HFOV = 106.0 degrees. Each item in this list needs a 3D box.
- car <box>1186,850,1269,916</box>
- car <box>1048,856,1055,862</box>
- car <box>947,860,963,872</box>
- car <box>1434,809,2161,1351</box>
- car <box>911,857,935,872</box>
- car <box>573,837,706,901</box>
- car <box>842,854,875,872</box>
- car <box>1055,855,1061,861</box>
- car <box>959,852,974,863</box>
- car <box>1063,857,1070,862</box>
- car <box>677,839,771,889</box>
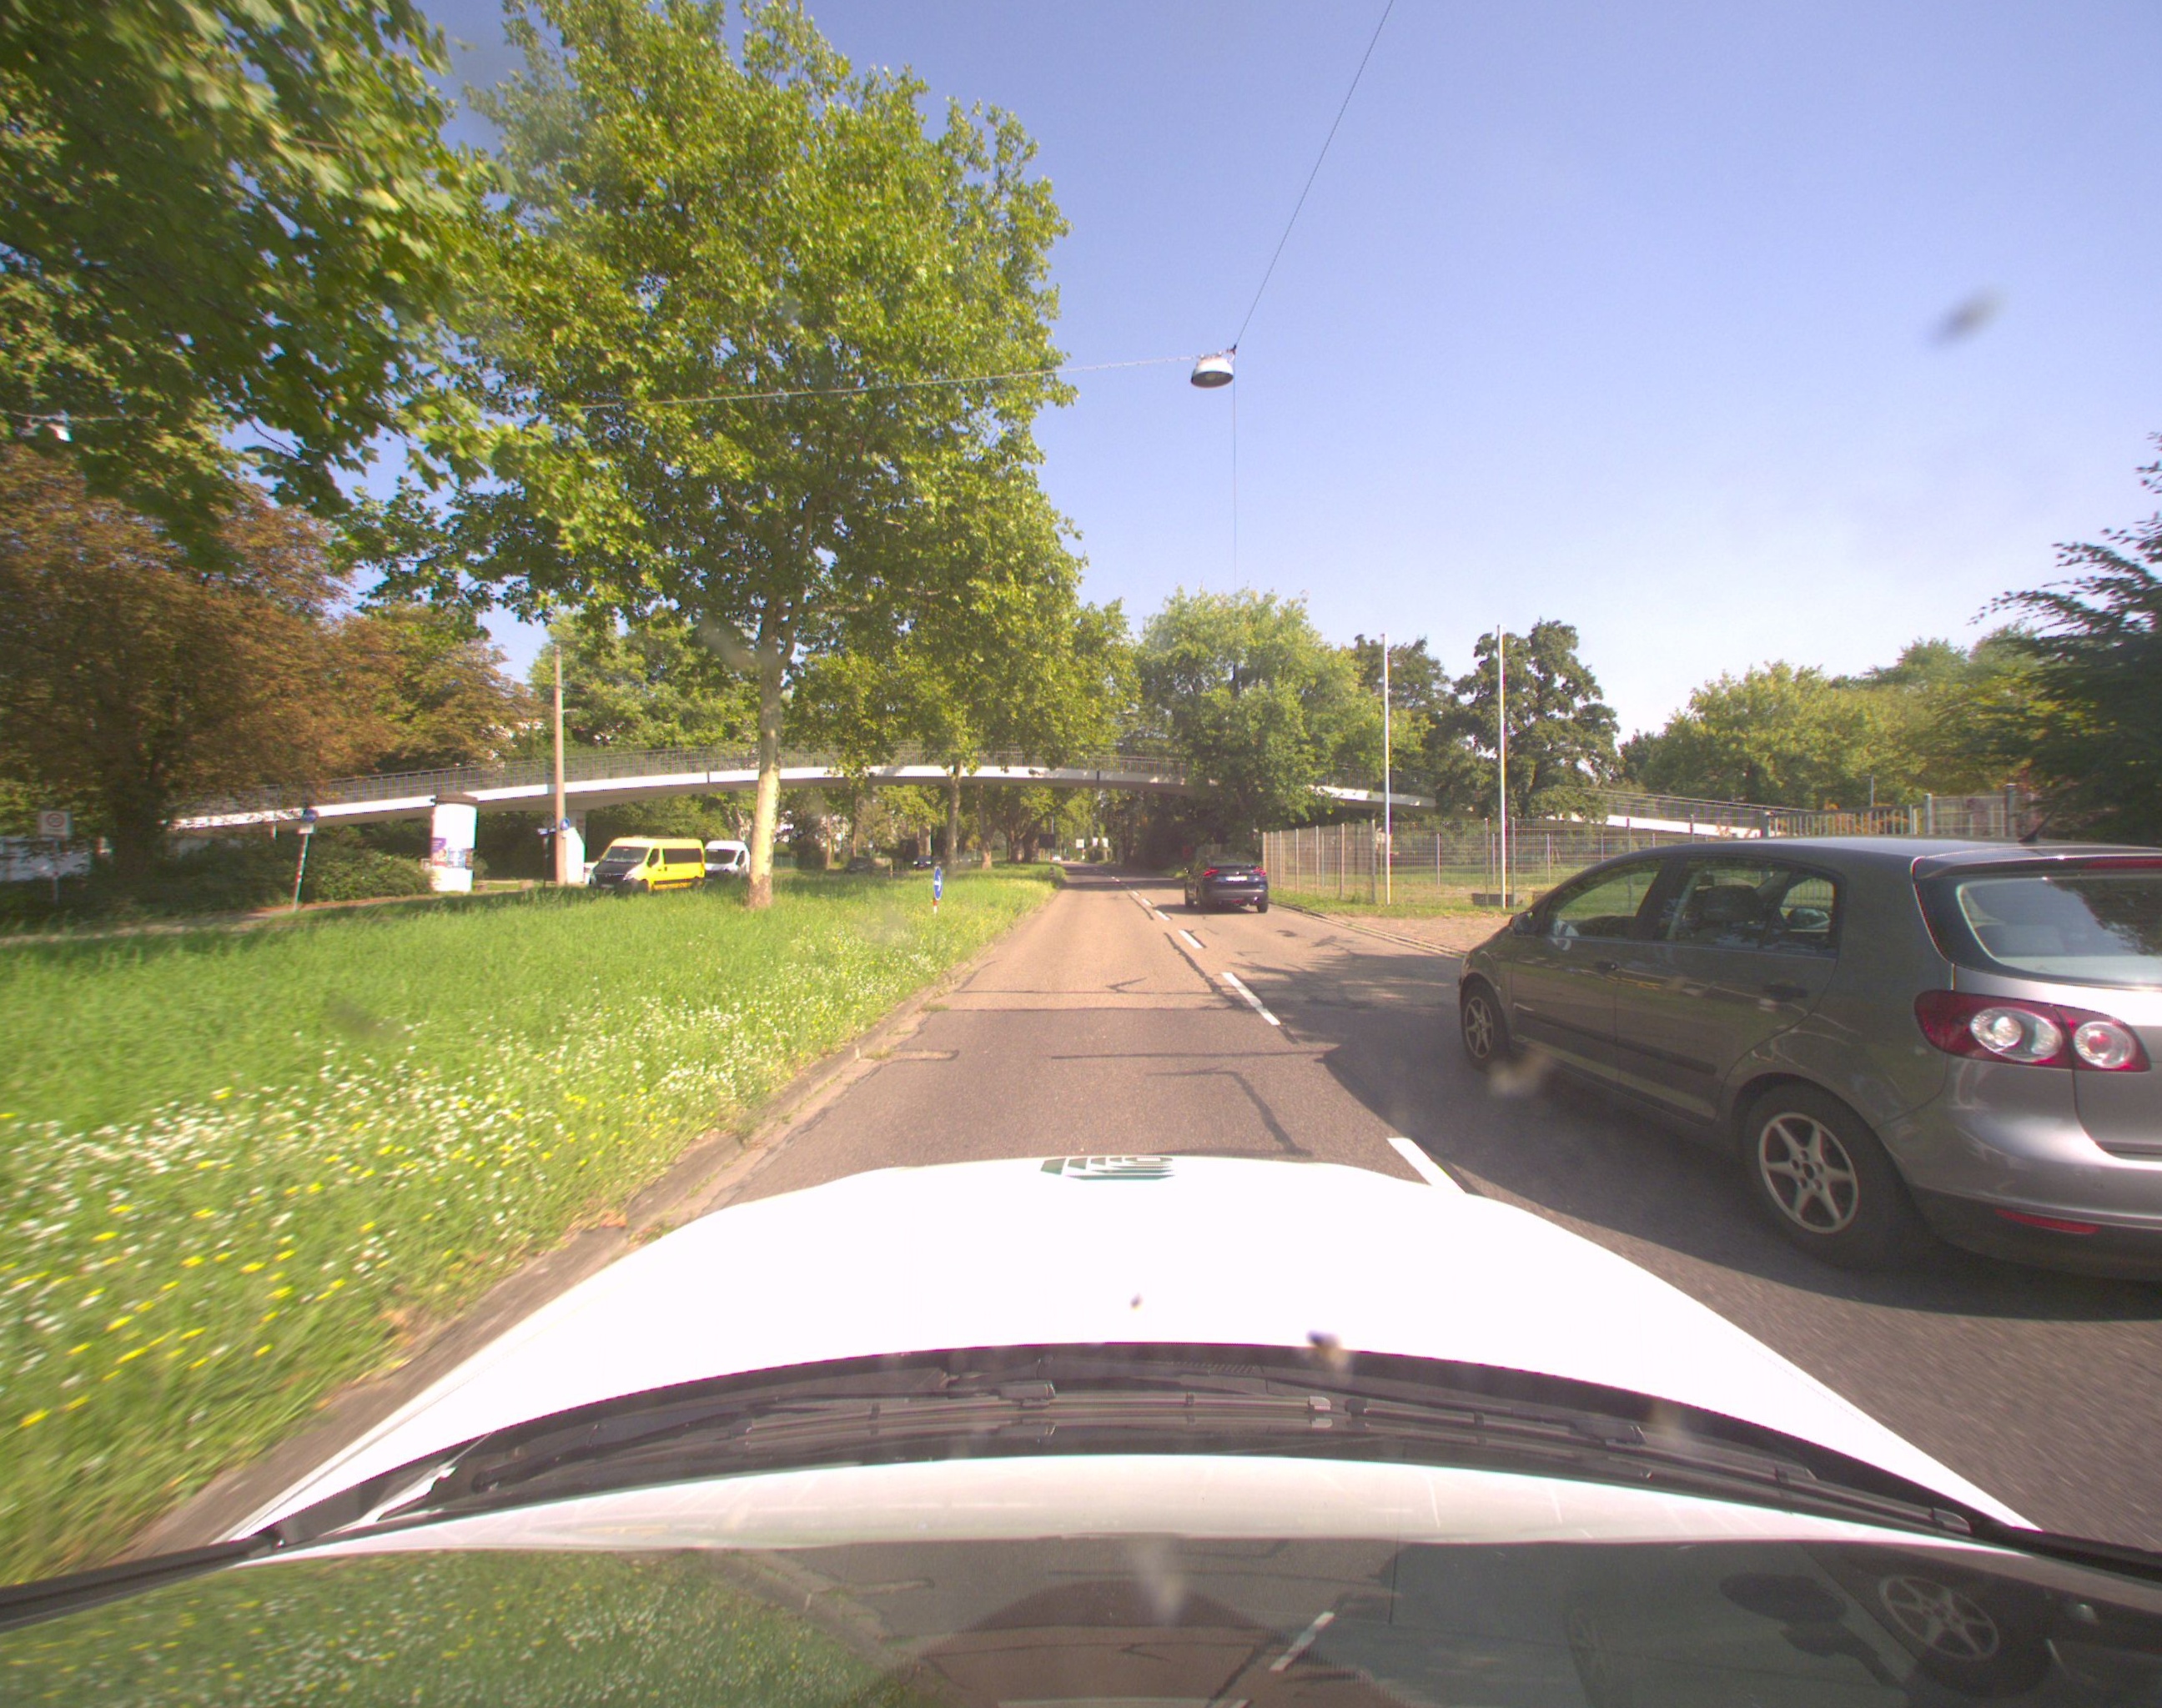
[{"bbox_3d":[3.844,0.718,22.018,1.639,1.588,4.257,0,0,2],"label":"car"},{"bbox_3d":[-7.802,1.388,217.999,1.681,1.462,3.850,0,0,1],"label":"car"},{"bbox_3d":[-17.204,1.617,111.069,1.687,1.533,4.065,0,0,-3],"label":"car"},{"bbox_3d":[3.501,0.659,4.299,1.639,1.556,3.899,0,0,1],"label":"car"},{"bbox_3d":[-16.641,1.086,86.132,1.783,1.533,4.452,0,0,-2],"label":"car"},{"bbox_3d":[-18.641,0.597,34.828,2.199,2.479,6.064,0,0,2],"label":"car"},{"bbox_3d":[-18.904,0.740,69.333,1.516,1.533,3.867,-1,0,4],"label":"car"},{"bbox_3d":[-5.707,1.043,201.665,1.683,1.462,3.996,0,0,-2],"label":"car"},{"bbox_3d":[-18.204,0.556,129.722,1.797,1.719,4.717,-1,0,-1],"label":"car"},{"bbox_3d":[-3.767,1.404,213.769,1.794,1.401,3.994,0,0,-4],"label":"car"},{"bbox_3d":[-18.530,0.495,42.674,2.201,2.430,6.263,0,0,-1],"label":"car"}]
